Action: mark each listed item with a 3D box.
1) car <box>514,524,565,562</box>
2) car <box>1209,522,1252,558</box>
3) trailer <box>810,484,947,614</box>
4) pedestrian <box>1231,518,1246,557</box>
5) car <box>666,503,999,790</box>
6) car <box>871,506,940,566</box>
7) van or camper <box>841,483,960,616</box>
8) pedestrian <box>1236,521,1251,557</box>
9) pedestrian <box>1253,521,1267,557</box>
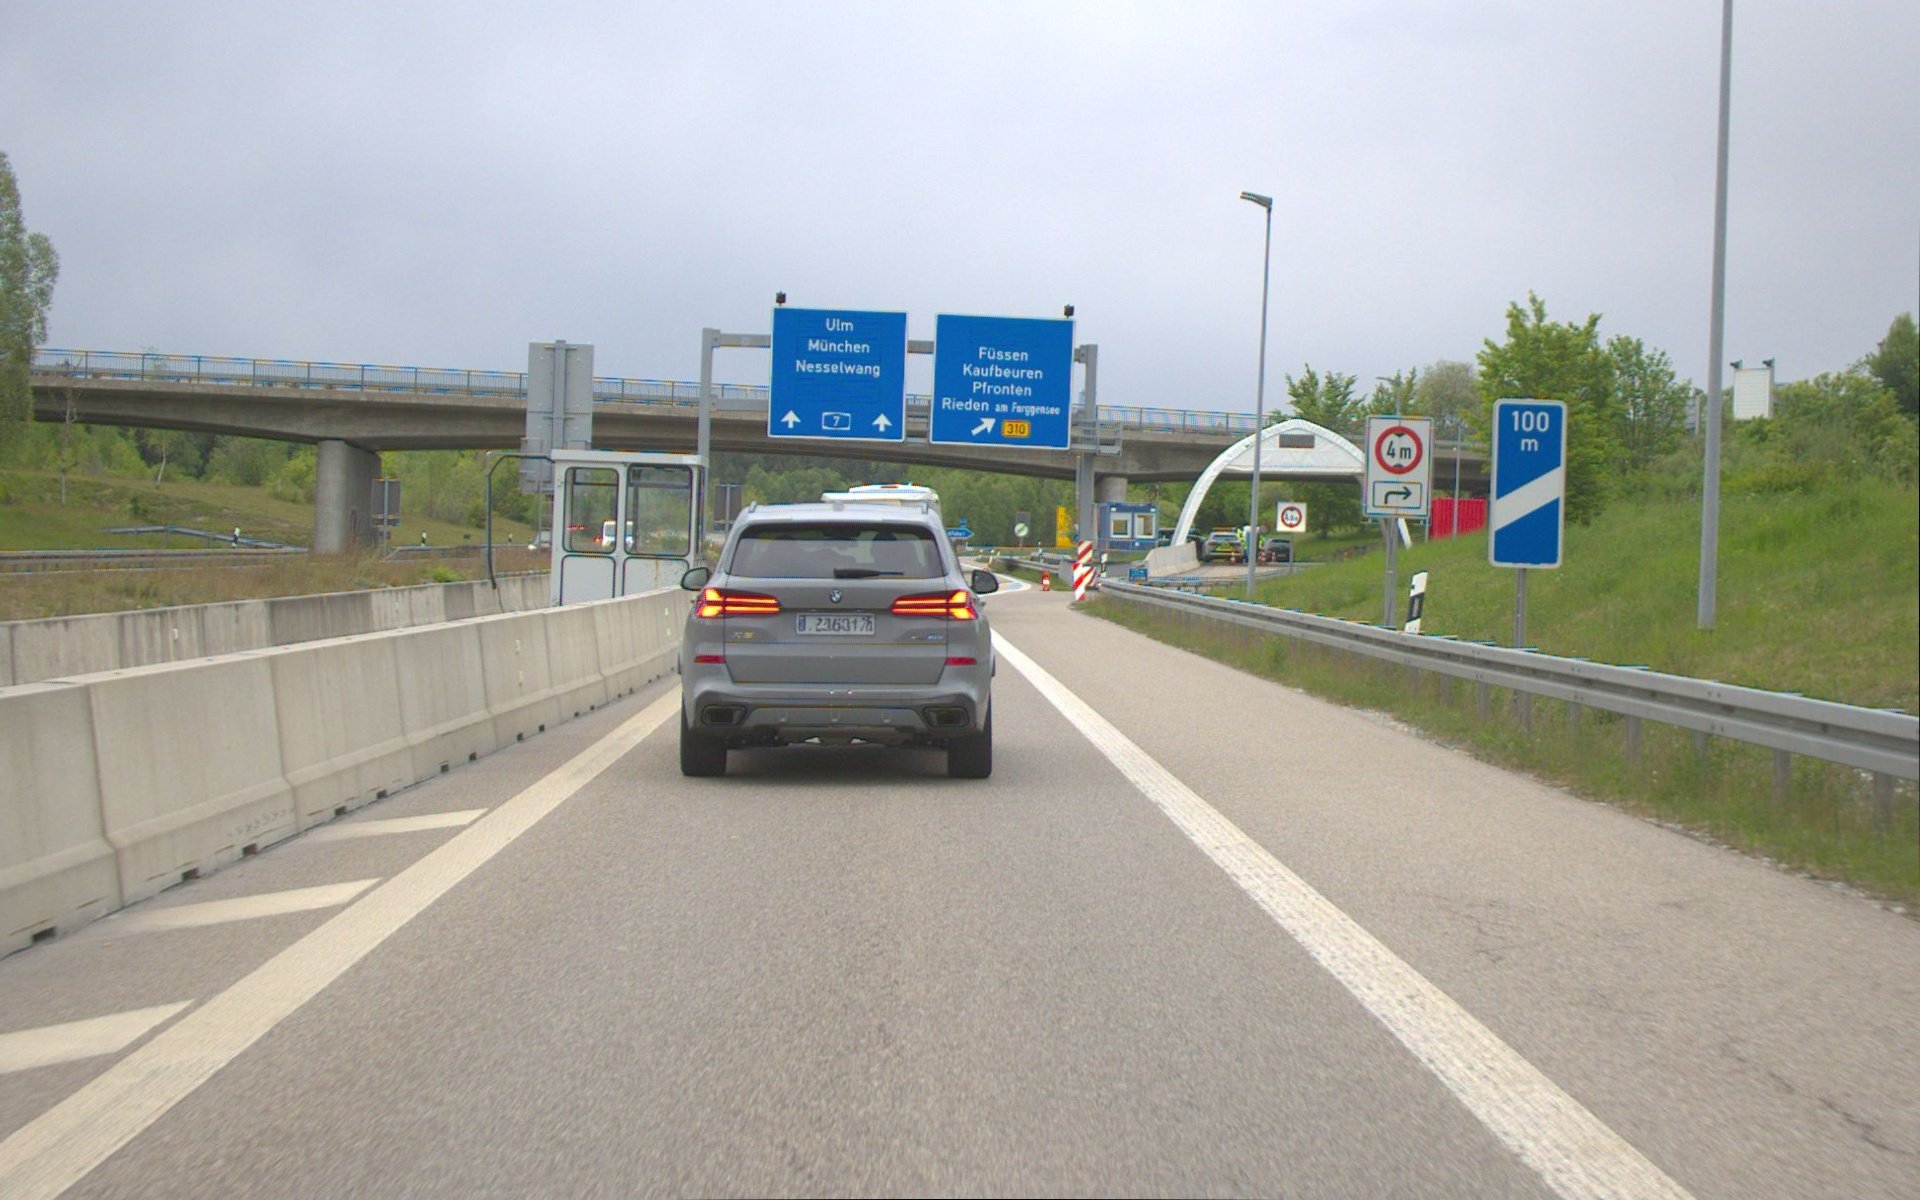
[{"bbox_3d":[-17.965,-2.436,146.970,1.702,1.569,4.177,2,1,-1],"label":"car"},{"bbox_3d":[13.213,-2.938,168.008,1.994,1.766,3.765,0,1,3],"label":"car"},{"bbox_3d":[-1.558,-1.005,68.278,2.279,2.422,6.817,1,1,2],"label":"trailer"},{"bbox_3d":[13.912,-3.112,171.482,0.720,1.939,0.690,0,1,4],"label":"pedestrian"},{"bbox_3d":[-0.803,0.246,22.776,1.993,1.713,4.000,1,1,-1],"label":"car"},{"bbox_3d":[-1.944,-2.286,121.310,2.286,2.006,5.051,1,2,-2],"label":"car"},{"bbox_3d":[-1.243,-1.087,74.624,2.157,2.754,5.871,1,1,3],"label":"van or camper"},{"bbox_3d":[14.025,-3.007,170.324,0.720,1.769,0.690,0,1,4],"label":"pedestrian"},{"bbox_3d":[14.937,-3.035,171.393,0.648,1.769,0.606,0,1,2],"label":"pedestrian"}]
